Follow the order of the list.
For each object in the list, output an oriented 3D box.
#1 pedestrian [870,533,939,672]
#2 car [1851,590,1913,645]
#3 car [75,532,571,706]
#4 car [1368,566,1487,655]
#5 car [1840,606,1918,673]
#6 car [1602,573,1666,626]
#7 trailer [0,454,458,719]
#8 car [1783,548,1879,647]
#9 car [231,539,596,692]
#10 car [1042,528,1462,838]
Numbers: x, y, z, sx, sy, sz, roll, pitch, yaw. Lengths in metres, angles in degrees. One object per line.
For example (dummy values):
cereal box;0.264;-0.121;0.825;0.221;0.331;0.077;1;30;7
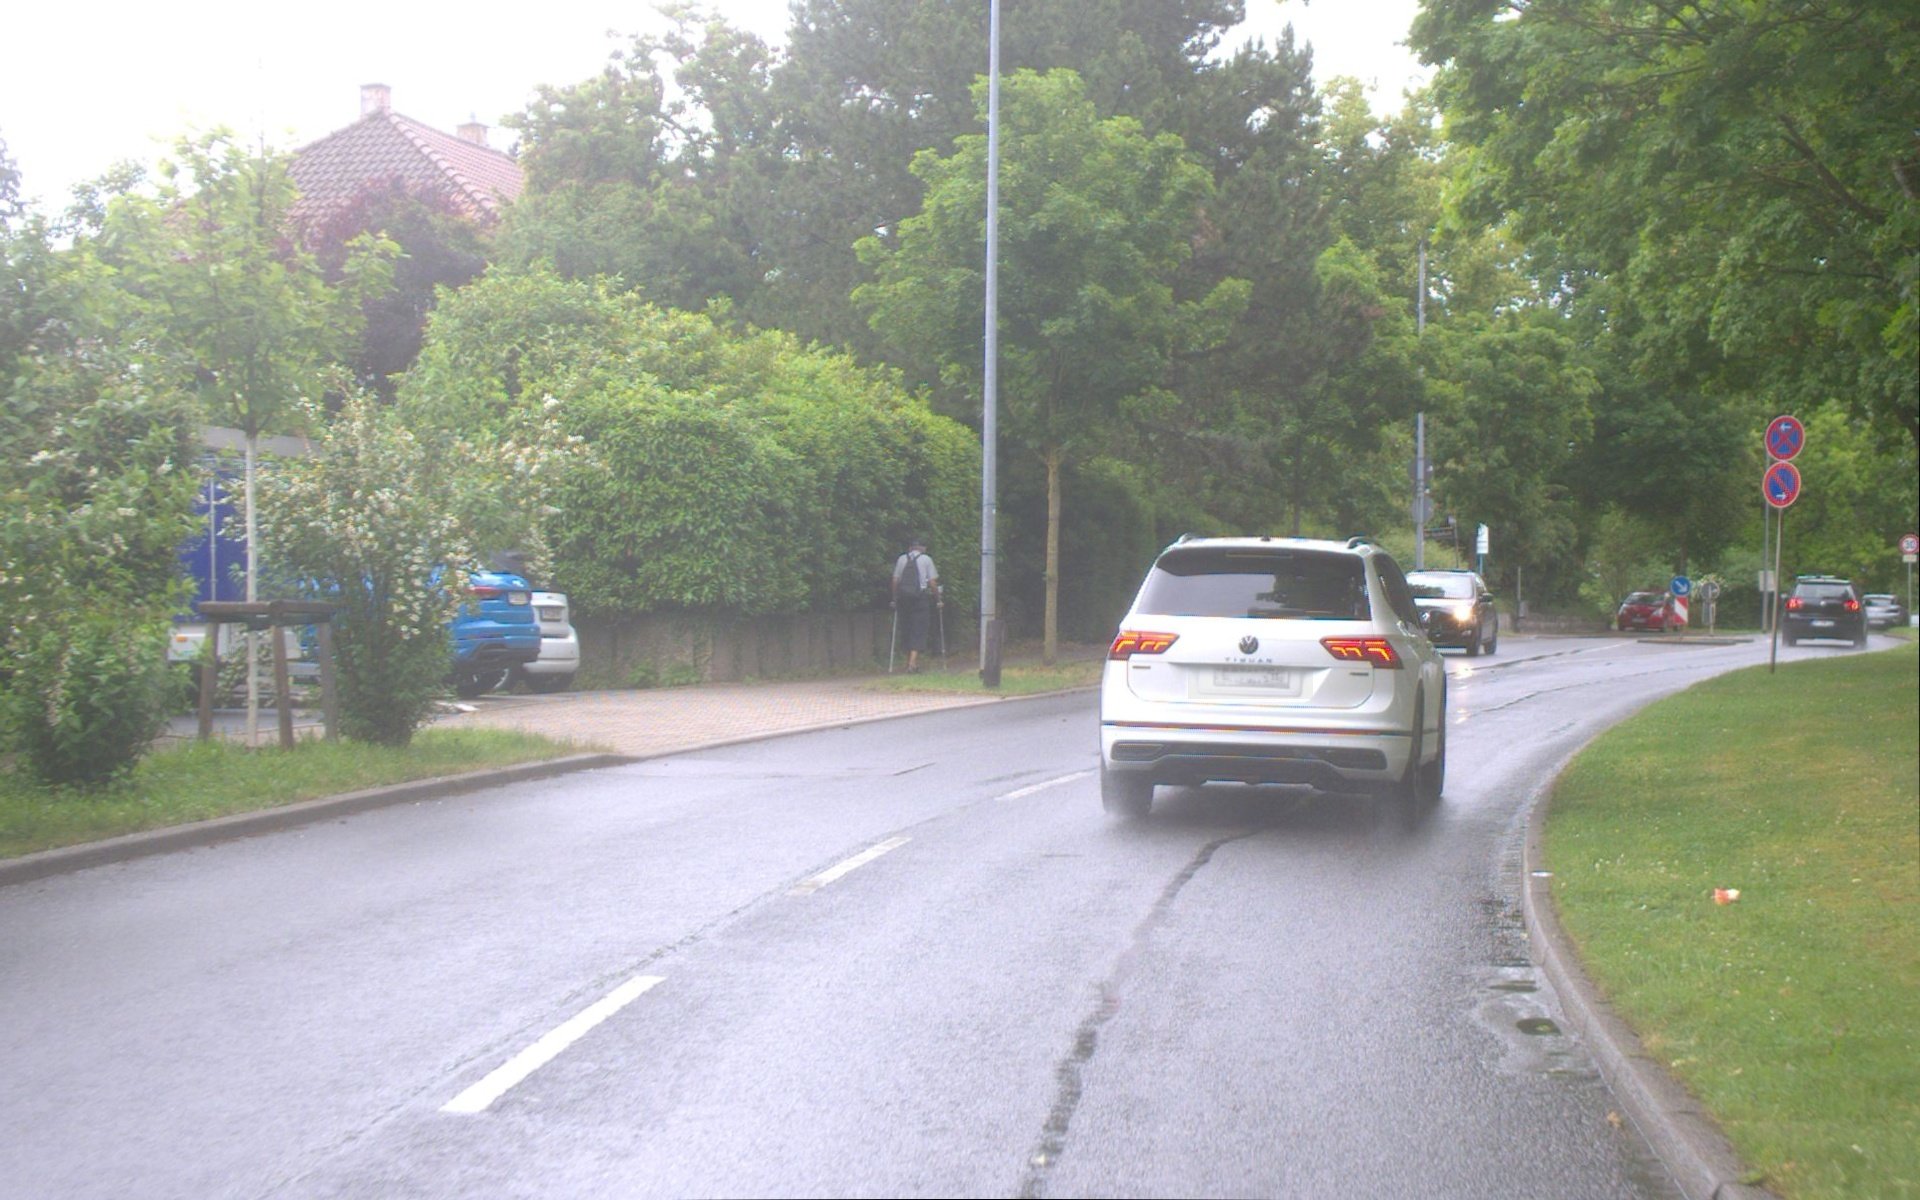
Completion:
pedestrian;-0.671;0.023;41.722;0.777;1.656;0.843;1;1;1
car;32.906;0.641;122.740;1.995;1.798;3.997;2;-1;14
car;-6.131;0.163;33.318;4.240;1.534;2.051;1;0;12
car;8.062;0.154;59.060;1.584;1.472;3.893;0;1;14
car;25.970;1.127;97.212;1.995;1.753;3.997;2;-1;14
car;24.709;-0.012;126.004;1.995;1.756;3.997;2;-1;15
trailer;-6.916;-0.147;30.031;4.623;2.164;1.814;1;0;12
car;19.155;-0.031;75.618;1.902;2.007;3.941;2;-1;14
car;-5.786;0.152;36.555;3.405;1.514;1.730;1;0;12
car;1.887;0.438;20.926;1.975;1.647;4.174;1;0;13
